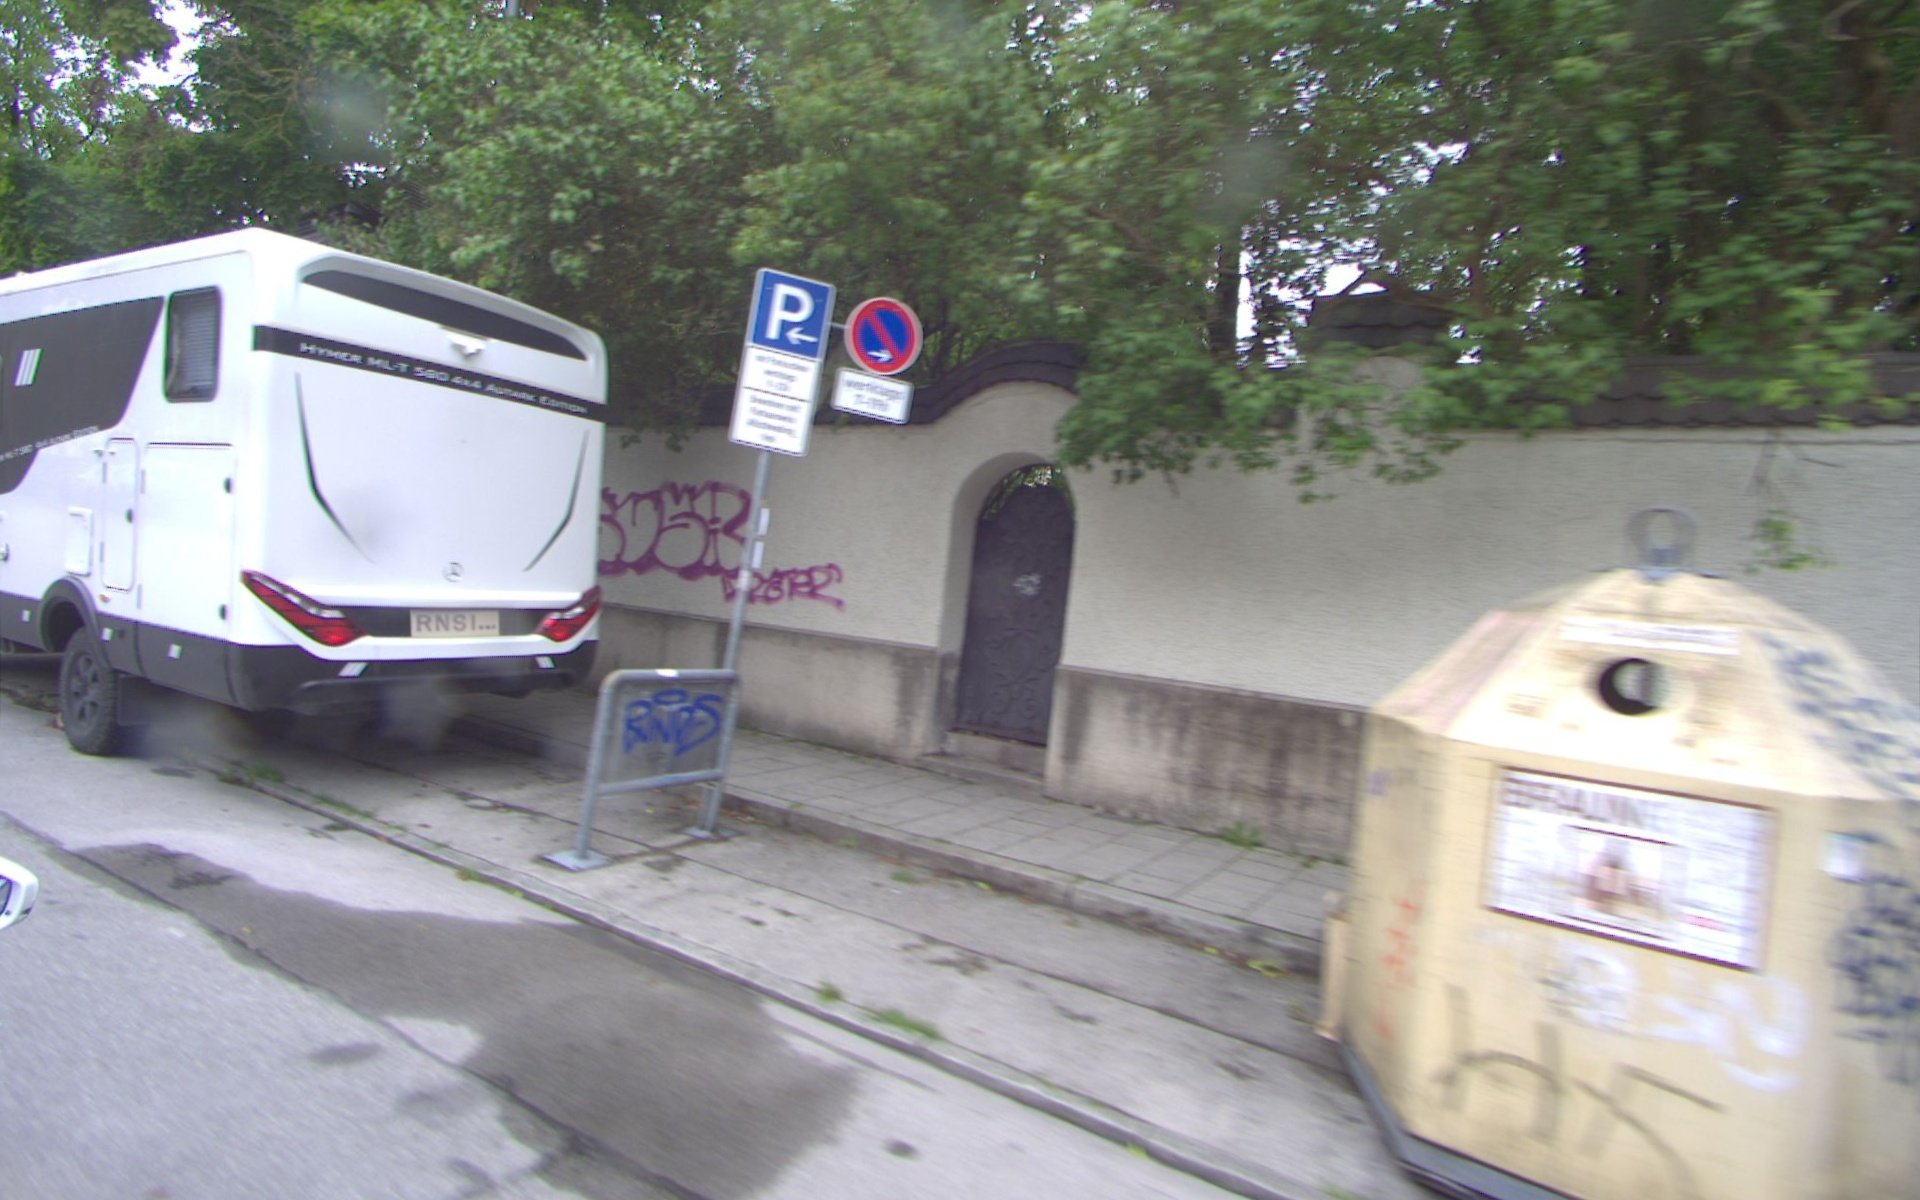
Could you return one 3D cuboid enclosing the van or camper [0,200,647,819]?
[{"bbox_3d":[-5.879,-0.711,7.539,7.153,2.943,2.276,7,1,30],"label":"van or camper"}]
